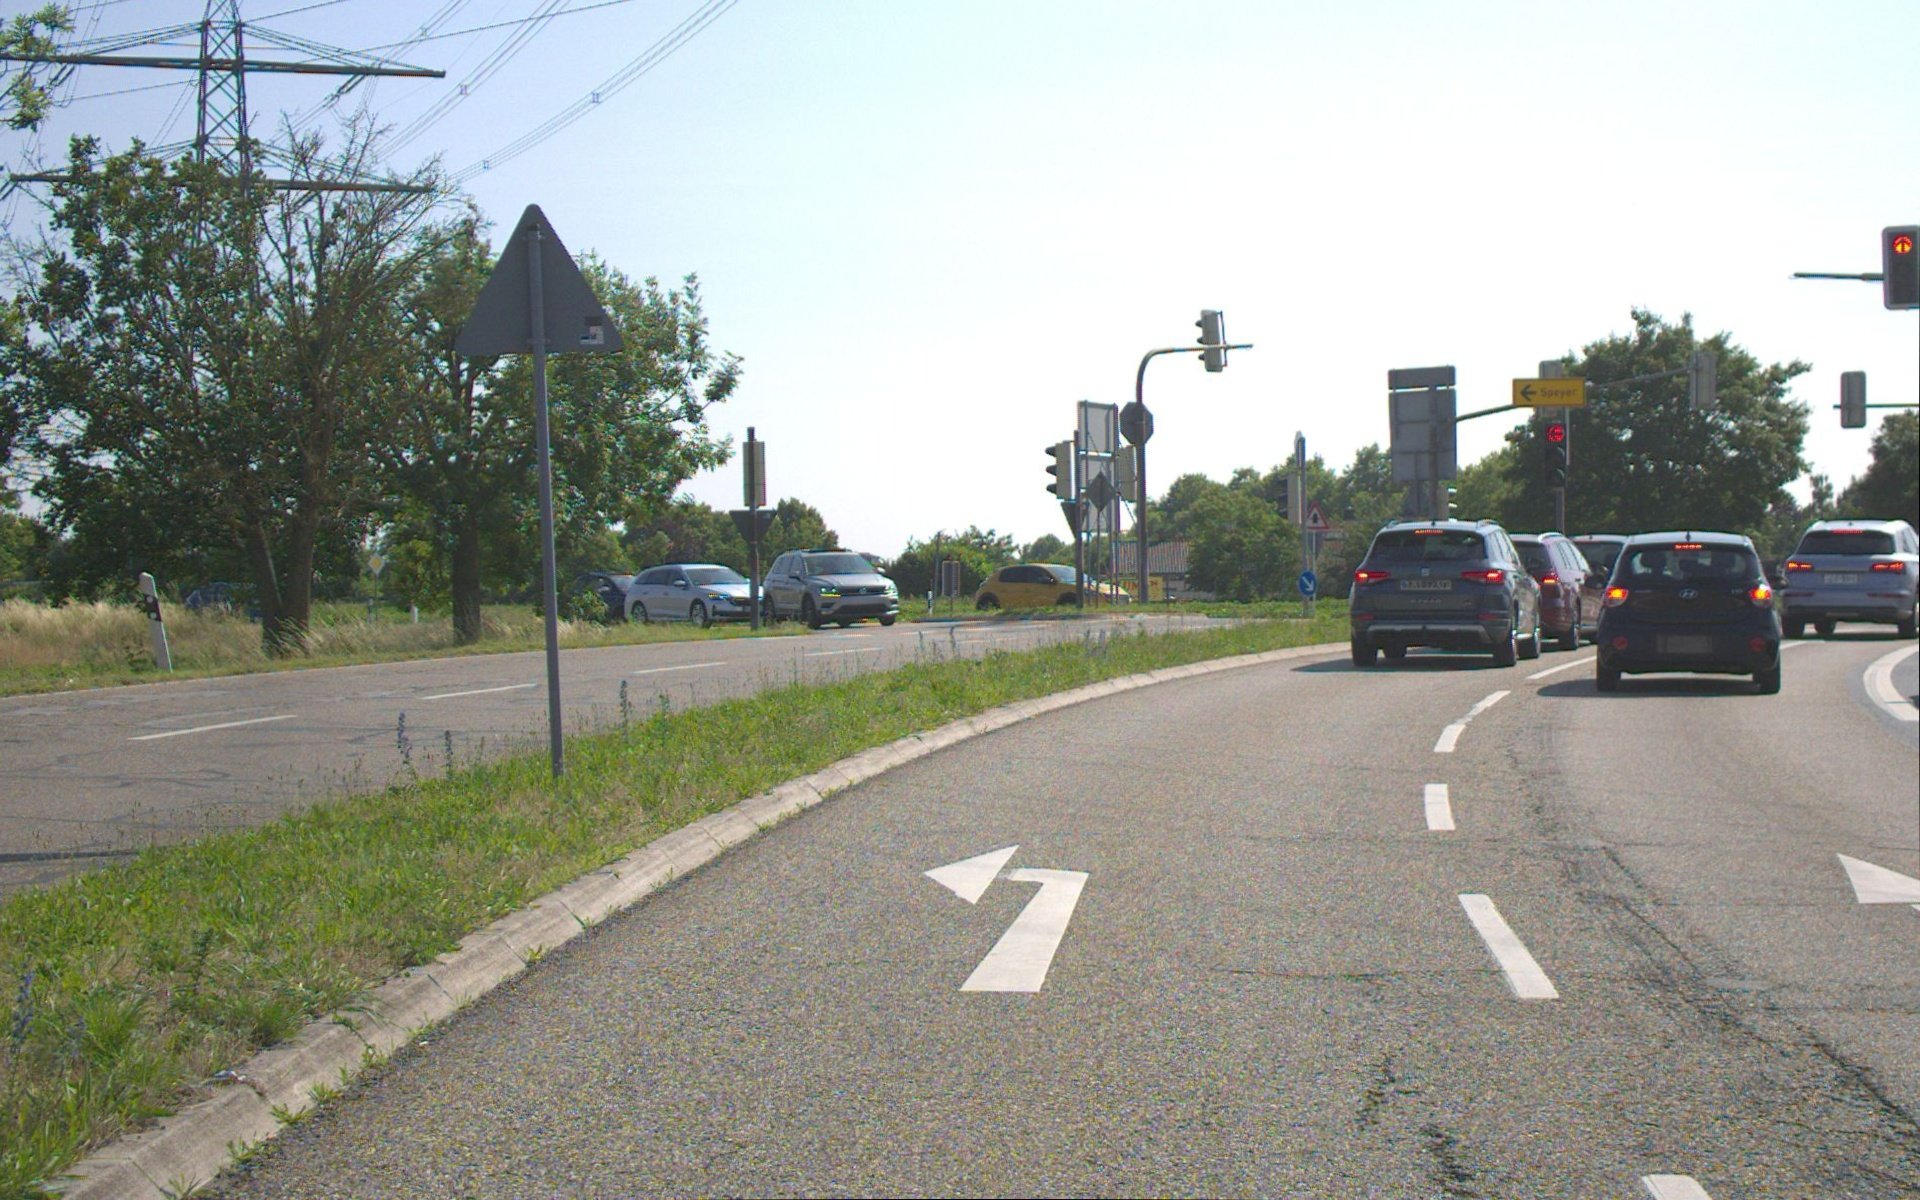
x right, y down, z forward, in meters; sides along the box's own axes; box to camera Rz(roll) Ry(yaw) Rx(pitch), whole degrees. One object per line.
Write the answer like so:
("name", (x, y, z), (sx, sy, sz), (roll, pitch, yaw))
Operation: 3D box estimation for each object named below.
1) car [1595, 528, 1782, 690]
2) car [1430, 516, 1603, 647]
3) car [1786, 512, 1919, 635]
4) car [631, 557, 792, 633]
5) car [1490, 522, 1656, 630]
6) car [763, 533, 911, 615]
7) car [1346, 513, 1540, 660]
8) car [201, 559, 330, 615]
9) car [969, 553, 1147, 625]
("car", (6.923, 0.049, 32.598), (1.634, 1.443, 3.293), (1, 1, 13))
("car", (7.124, -0.247, 43.790), (1.743, 1.563, 3.621), (1, 1, 16))
("car", (12.896, -0.390, 48.991), (1.635, 1.671, 3.745), (1, 1, 22))
("car", (-5.606, -0.120, 77.209), (1.814, 1.645, 3.999), (-1, 0, -34))
("car", (8.915, -0.355, 49.824), (1.744, 1.479, 3.620), (1, 1, 20))
("car", (-2.575, -0.537, 71.090), (1.814, 1.645, 4.001), (-1, 0, -22))
("car", (5.463, -0.173, 38.568), (1.743, 1.563, 3.622), (0, 1, 15))
("car", (-21.058, -0.397, 104.203), (3.997, 1.645, 1.816), (0, 0, 43))
("car", (2.298, -0.265, 81.180), (3.997, 1.645, 1.816), (0, 0, 43))
